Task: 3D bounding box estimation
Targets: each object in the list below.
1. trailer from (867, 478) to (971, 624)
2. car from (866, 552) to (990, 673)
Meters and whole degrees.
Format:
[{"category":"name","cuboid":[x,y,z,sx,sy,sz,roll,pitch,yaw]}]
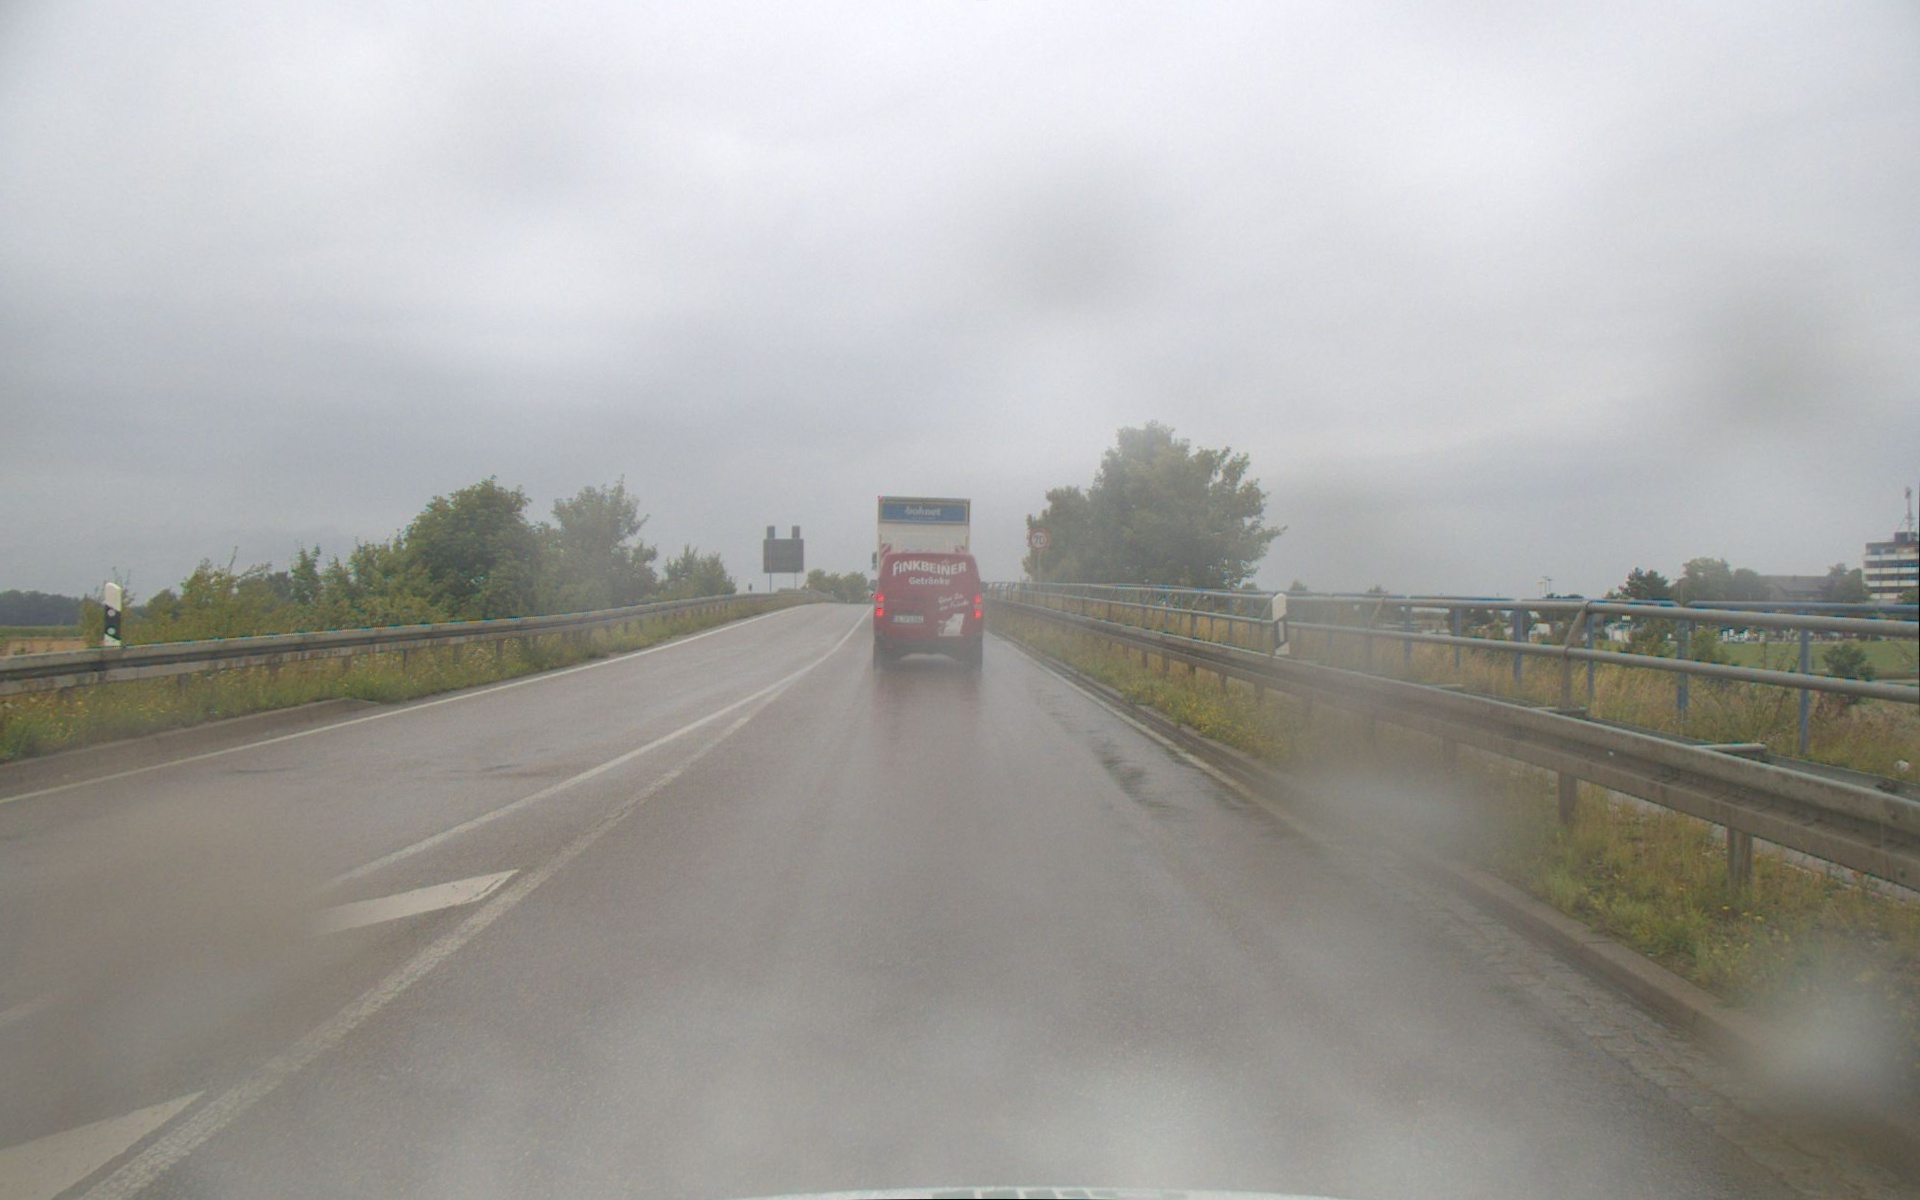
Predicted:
[{"category":"trailer","cuboid":[-1.144,-1.302,49.178,2.774,3.886,9.713,0,0,-1]},{"category":"car","cuboid":[-0.549,0.181,28.870,1.953,1.903,4.978,-1,0,-1]}]
